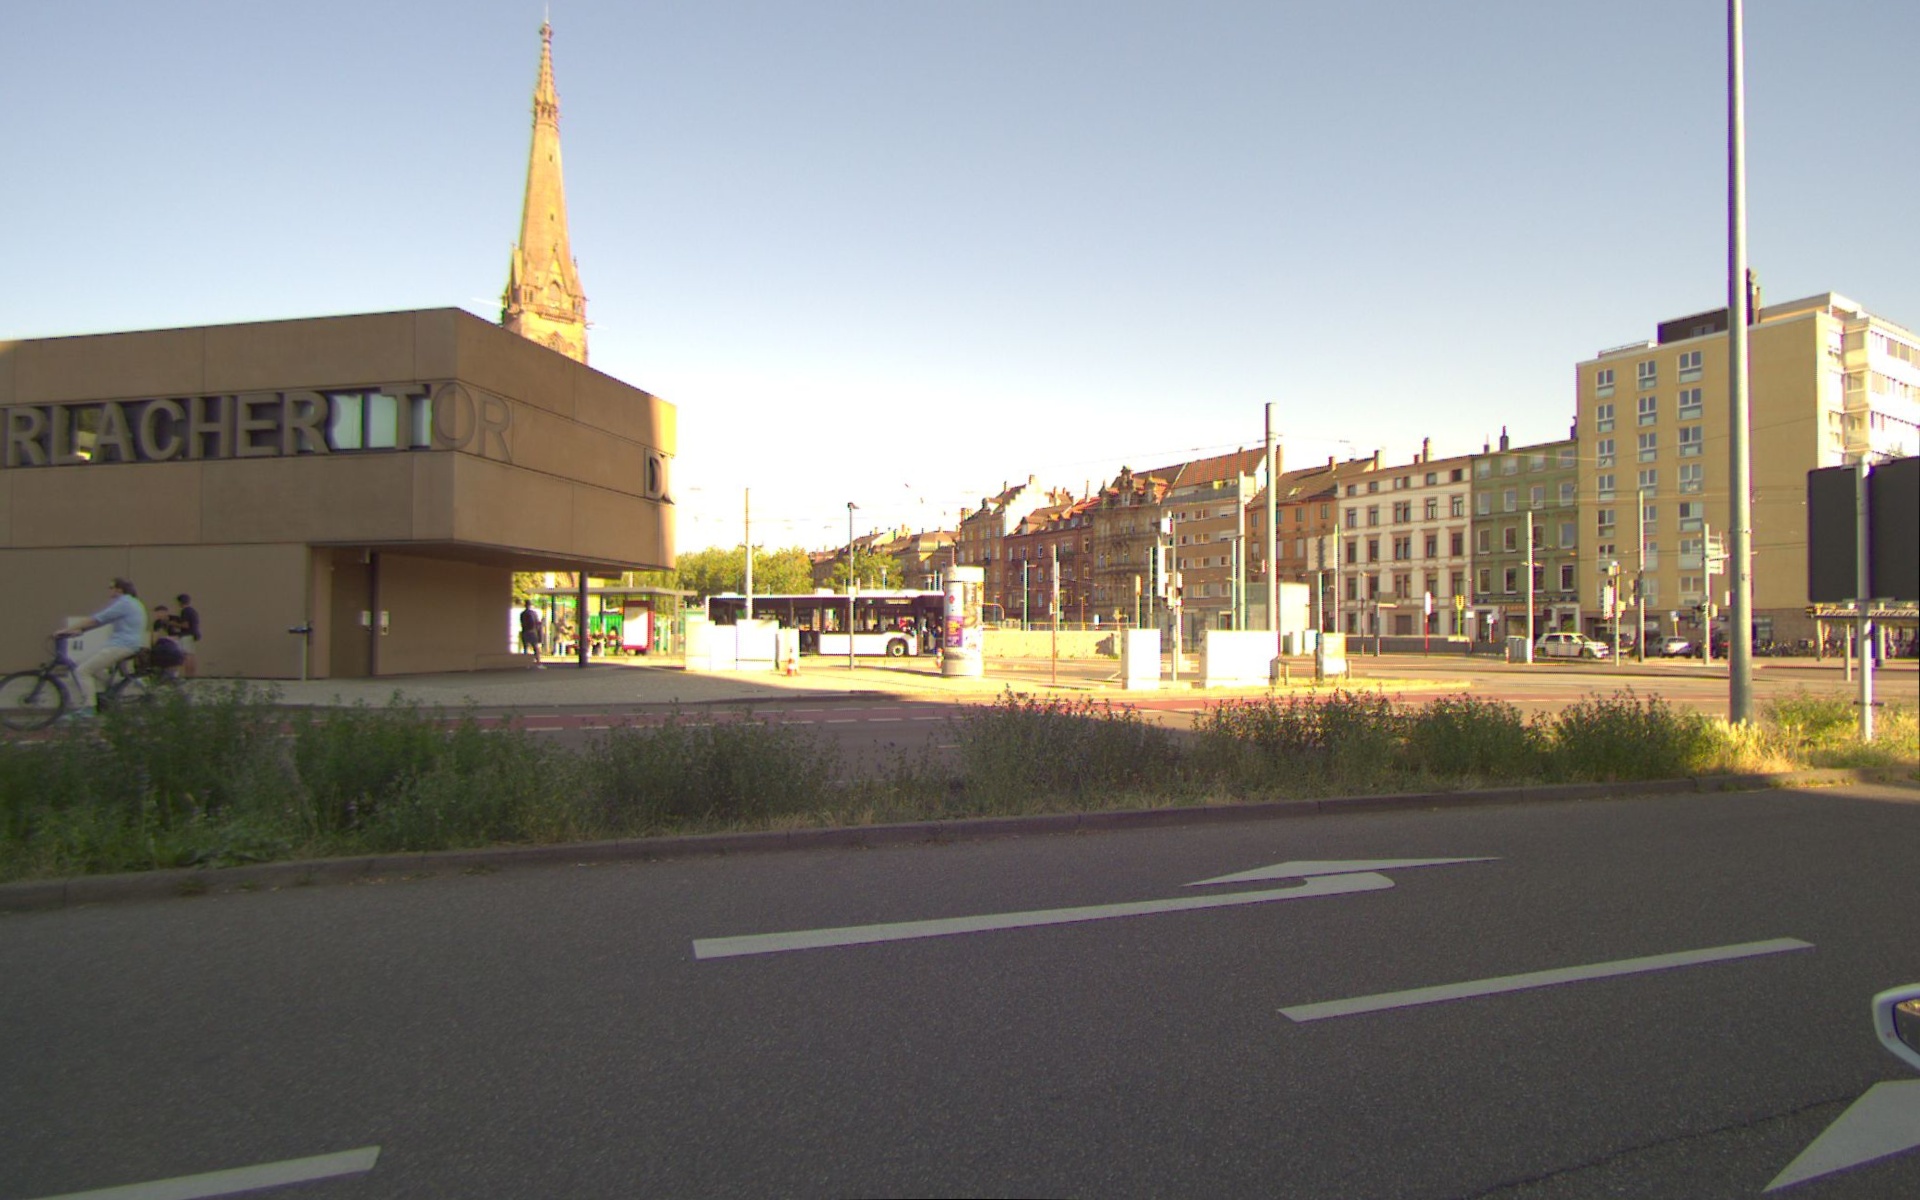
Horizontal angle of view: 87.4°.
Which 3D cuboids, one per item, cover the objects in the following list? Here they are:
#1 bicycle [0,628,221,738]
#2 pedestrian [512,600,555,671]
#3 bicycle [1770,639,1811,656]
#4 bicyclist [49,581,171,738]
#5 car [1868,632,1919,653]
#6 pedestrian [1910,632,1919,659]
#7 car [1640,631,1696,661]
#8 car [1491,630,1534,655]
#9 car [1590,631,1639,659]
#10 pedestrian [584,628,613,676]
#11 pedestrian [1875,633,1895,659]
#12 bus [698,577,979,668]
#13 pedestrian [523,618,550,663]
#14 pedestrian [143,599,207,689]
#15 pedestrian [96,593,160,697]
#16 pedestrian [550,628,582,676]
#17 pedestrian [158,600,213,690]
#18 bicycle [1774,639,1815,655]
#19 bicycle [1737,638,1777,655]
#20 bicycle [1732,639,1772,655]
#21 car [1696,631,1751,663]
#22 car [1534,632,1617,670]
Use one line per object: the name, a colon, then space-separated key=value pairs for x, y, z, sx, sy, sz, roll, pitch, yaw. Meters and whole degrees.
bicycle: x=-10.699 y=0.994 z=12.335 sx=2.528 sy=1.271 sz=0.736 roll=2 pitch=-2 yaw=-32
pedestrian: x=-12.256 y=1.028 z=28.884 sx=0.704 sy=2.007 sz=0.982 roll=-1 pitch=-2 yaw=13
bicycle: x=55.883 y=3.186 z=67.608 sx=0.768 sy=1.104 sz=2.031 roll=1 pitch=-2 yaw=-32
bicyclist: x=-10.515 y=0.722 z=12.469 sx=1.002 sy=1.856 sz=0.736 roll=2 pitch=-2 yaw=-32
car: x=68.253 y=3.057 z=72.301 sx=1.795 sy=1.441 sz=3.961 roll=2 pitch=-2 yaw=-35
pedestrian: x=61.419 y=2.896 z=64.227 sx=0.773 sy=1.698 sz=0.772 roll=1 pitch=-2 yaw=-30
car: x=46.870 y=3.025 z=66.584 sx=1.803 sy=1.771 sz=4.001 roll=-1 pitch=0 yaw=16
car: x=41.762 y=3.220 z=76.033 sx=2.045 sy=1.742 sz=4.011 roll=-1 pitch=0 yaw=18
car: x=45.255 y=3.096 z=69.500 sx=1.803 sy=1.742 sz=4.001 roll=-1 pitch=0 yaw=18
pedestrian: x=-15.228 y=2.193 z=42.292 sx=0.704 sy=2.007 sz=0.981 roll=-1 pitch=-2 yaw=15
pedestrian: x=60.583 y=3.031 z=65.799 sx=0.773 sy=1.698 sz=0.772 roll=1 pitch=-2 yaw=-30
bus: x=-5.399 y=0.996 z=44.972 sx=11.940 sy=3.359 sz=3.254 roll=2 pitch=-4 yaw=13
pedestrian: x=-18.875 y=1.810 z=44.762 sx=0.739 sy=2.007 sz=0.817 roll=-1 pitch=-2 yaw=15
pedestrian: x=-15.707 y=0.867 z=20.106 sx=0.651 sy=1.754 sz=0.737 roll=-1 pitch=0 yaw=12
pedestrian: x=-15.369 y=0.815 z=18.575 sx=0.628 sy=1.860 sz=0.717 roll=-1 pitch=0 yaw=-13
pedestrian: x=-16.827 y=2.230 z=42.939 sx=0.812 sy=2.007 sz=0.997 roll=-1 pitch=-2 yaw=15
pedestrian: x=-14.959 y=0.856 z=19.411 sx=0.539 sy=1.711 sz=0.639 roll=-1 pitch=0 yaw=0
bicycle: x=56.564 y=3.176 z=68.104 sx=0.768 sy=1.104 sz=2.031 roll=1 pitch=-2 yaw=-32
bicycle: x=55.470 y=3.225 z=69.925 sx=0.768 sy=1.104 sz=2.031 roll=1 pitch=-2 yaw=-32
bicycle: x=54.745 y=3.224 z=69.458 sx=0.768 sy=1.104 sz=2.031 roll=1 pitch=-2 yaw=-32
car: x=48.759 y=2.959 z=64.226 sx=1.817 sy=1.882 sz=3.998 roll=-1 pitch=0 yaw=23
car: x=36.381 y=2.979 z=59.437 sx=1.978 sy=2.040 sz=3.714 roll=-1 pitch=0 yaw=-32
